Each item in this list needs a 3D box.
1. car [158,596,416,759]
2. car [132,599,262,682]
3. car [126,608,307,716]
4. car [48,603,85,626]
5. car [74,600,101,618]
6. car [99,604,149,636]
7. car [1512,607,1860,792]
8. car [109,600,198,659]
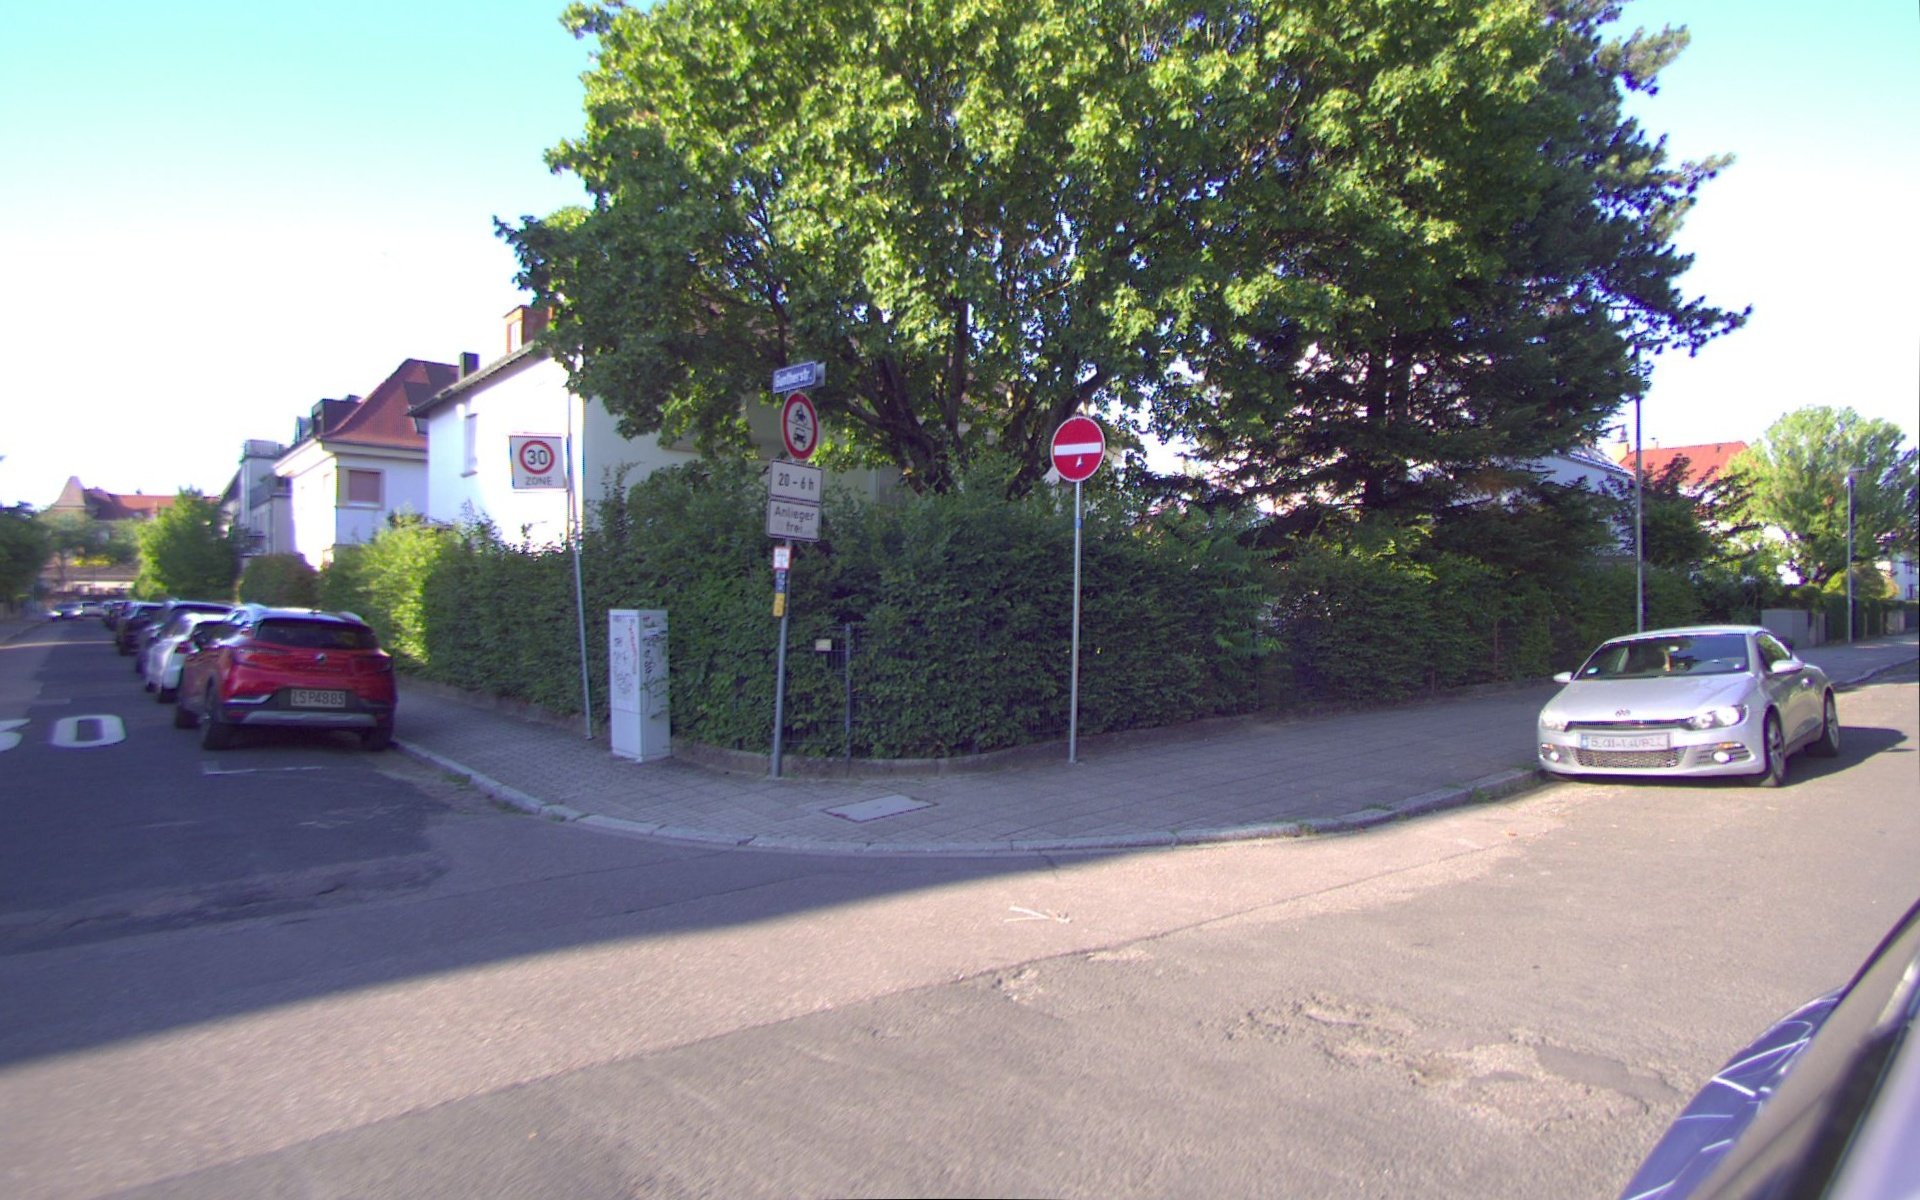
[{"bbox_3d":[-8.187,0.857,12.176,1.815,1.630,3.846,8,-5,-43],"label":"car"},{"bbox_3d":[-16.943,0.858,22.397,1.750,1.646,4.249,5,-3,-44],"label":"car"},{"bbox_3d":[-12.797,1.009,17.320,1.839,1.545,4.249,8,-5,-43],"label":"car"},{"bbox_3d":[-66.471,1.034,75.280,1.966,1.638,3.991,1,-1,-43],"label":"car"},{"bbox_3d":[-80.827,0.815,93.734,1.750,1.645,4.250,1,-1,-42],"label":"car"},{"bbox_3d":[-44.691,1.019,54.049,1.751,1.645,4.249,1,-1,-44],"label":"car"},{"bbox_3d":[7.204,0.879,9.901,4.000,1.439,1.758,0,-7,-41],"label":"car"},{"bbox_3d":[-24.565,0.865,30.779,1.750,1.646,4.250,4,-3,-42],"label":"car"}]
